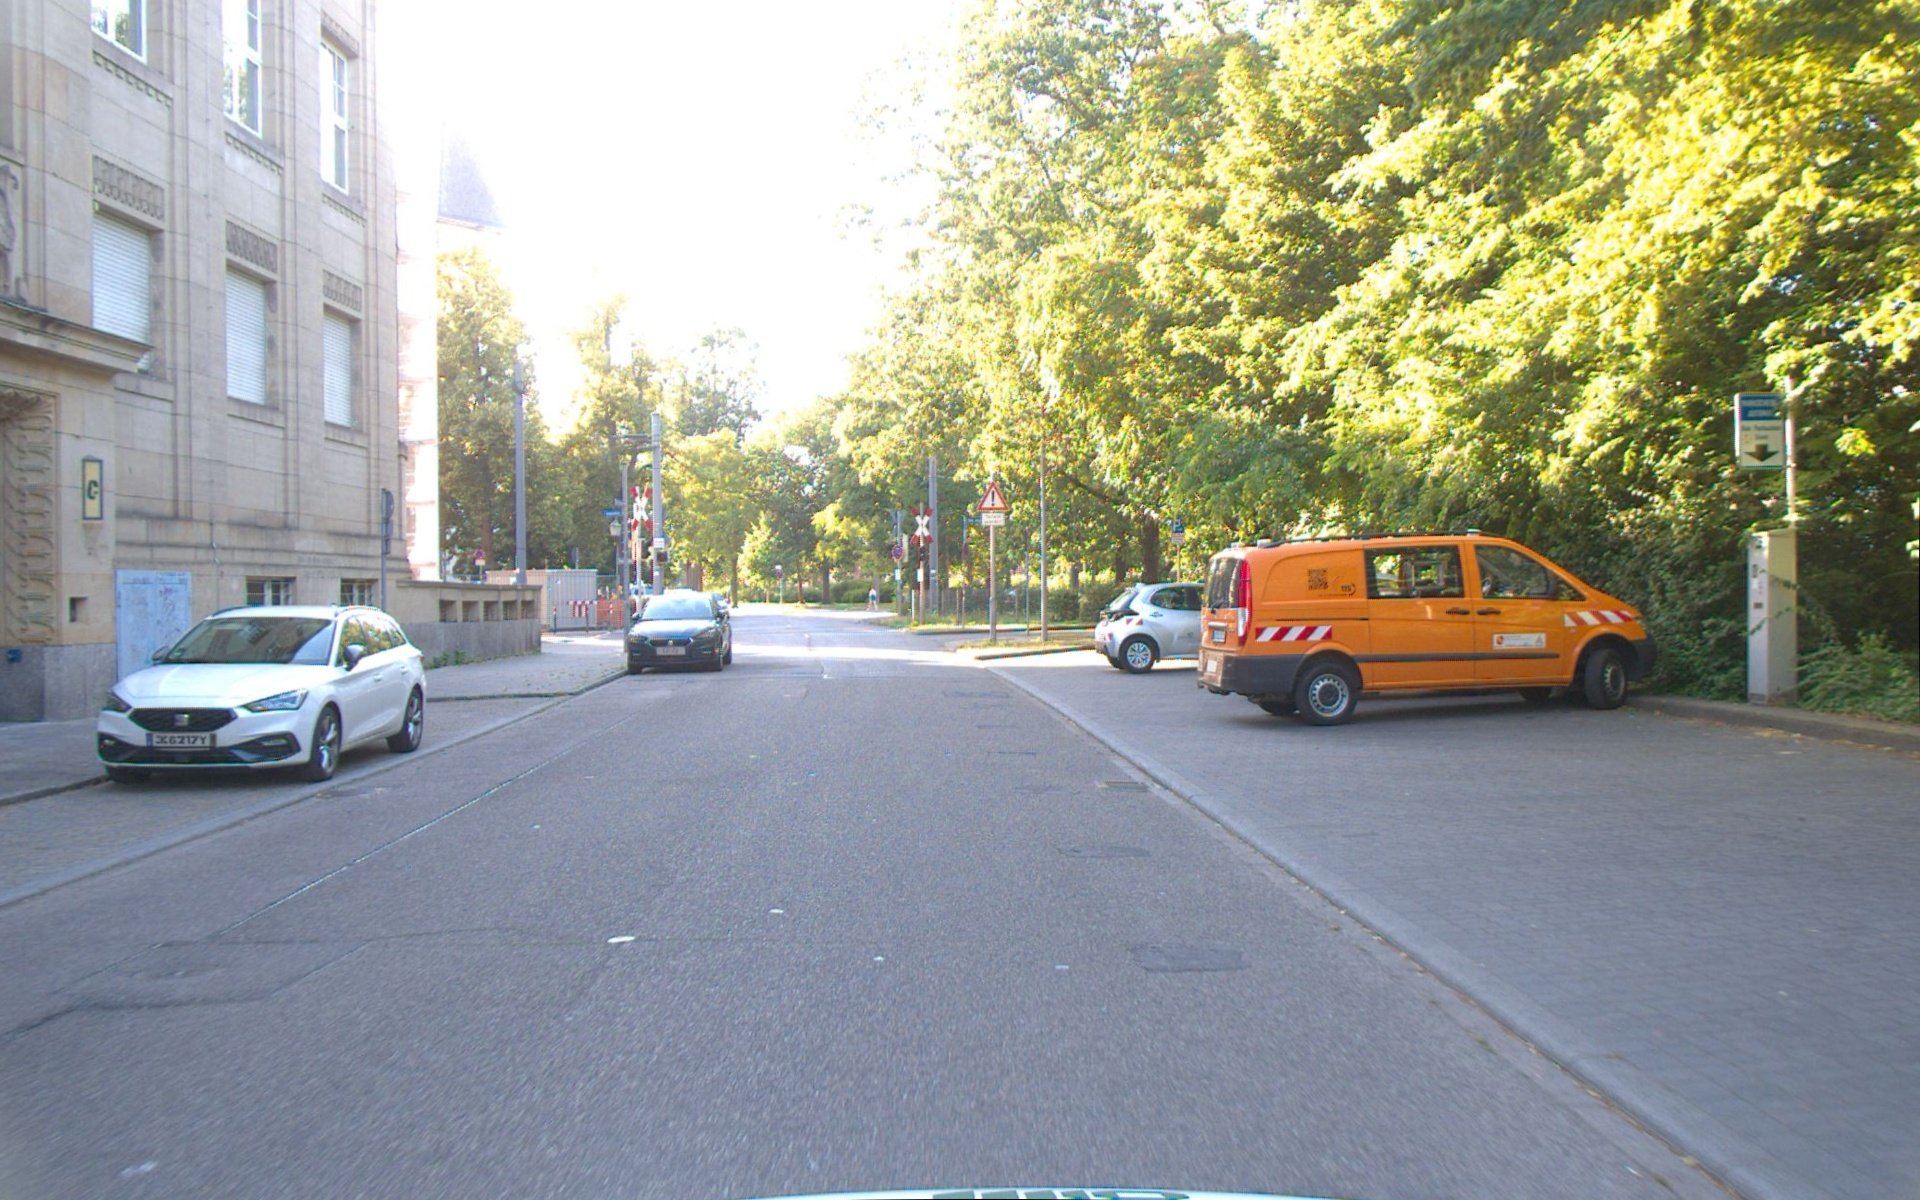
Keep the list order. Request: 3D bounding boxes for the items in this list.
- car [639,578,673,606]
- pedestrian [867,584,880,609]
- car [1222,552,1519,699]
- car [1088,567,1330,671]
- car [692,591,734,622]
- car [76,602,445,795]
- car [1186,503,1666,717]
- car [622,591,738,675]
[{"bbox_3d":[-21.728,-0.586,117.971,1.822,1.980,4.817,-1,0,-17],"label":"car"},{"bbox_3d":[-5.497,-0.234,105.588,0.758,1.602,0.766,-1,0,-8],"label":"pedestrian"},{"bbox_3d":[5.227,0.307,21.318,3.328,1.660,1.679,-3,0,-3],"label":"car"},{"bbox_3d":[4.296,0.312,28.930,3.907,1.573,1.734,-3,0,-2],"label":"car"},{"bbox_3d":[-12.750,0.298,85.276,1.749,1.440,4.483,-3,1,-13],"label":"car"},{"bbox_3d":[-6.171,0.772,15.212,1.709,1.460,4.557,0,0,-4],"label":"car"},{"bbox_3d":[5.131,0.080,18.595,4.704,2.032,2.078,-3,0,-7],"label":"car"},{"bbox_3d":[-5.384,0.590,32.263,1.709,1.473,4.206,-1,0,-3],"label":"car"}]
